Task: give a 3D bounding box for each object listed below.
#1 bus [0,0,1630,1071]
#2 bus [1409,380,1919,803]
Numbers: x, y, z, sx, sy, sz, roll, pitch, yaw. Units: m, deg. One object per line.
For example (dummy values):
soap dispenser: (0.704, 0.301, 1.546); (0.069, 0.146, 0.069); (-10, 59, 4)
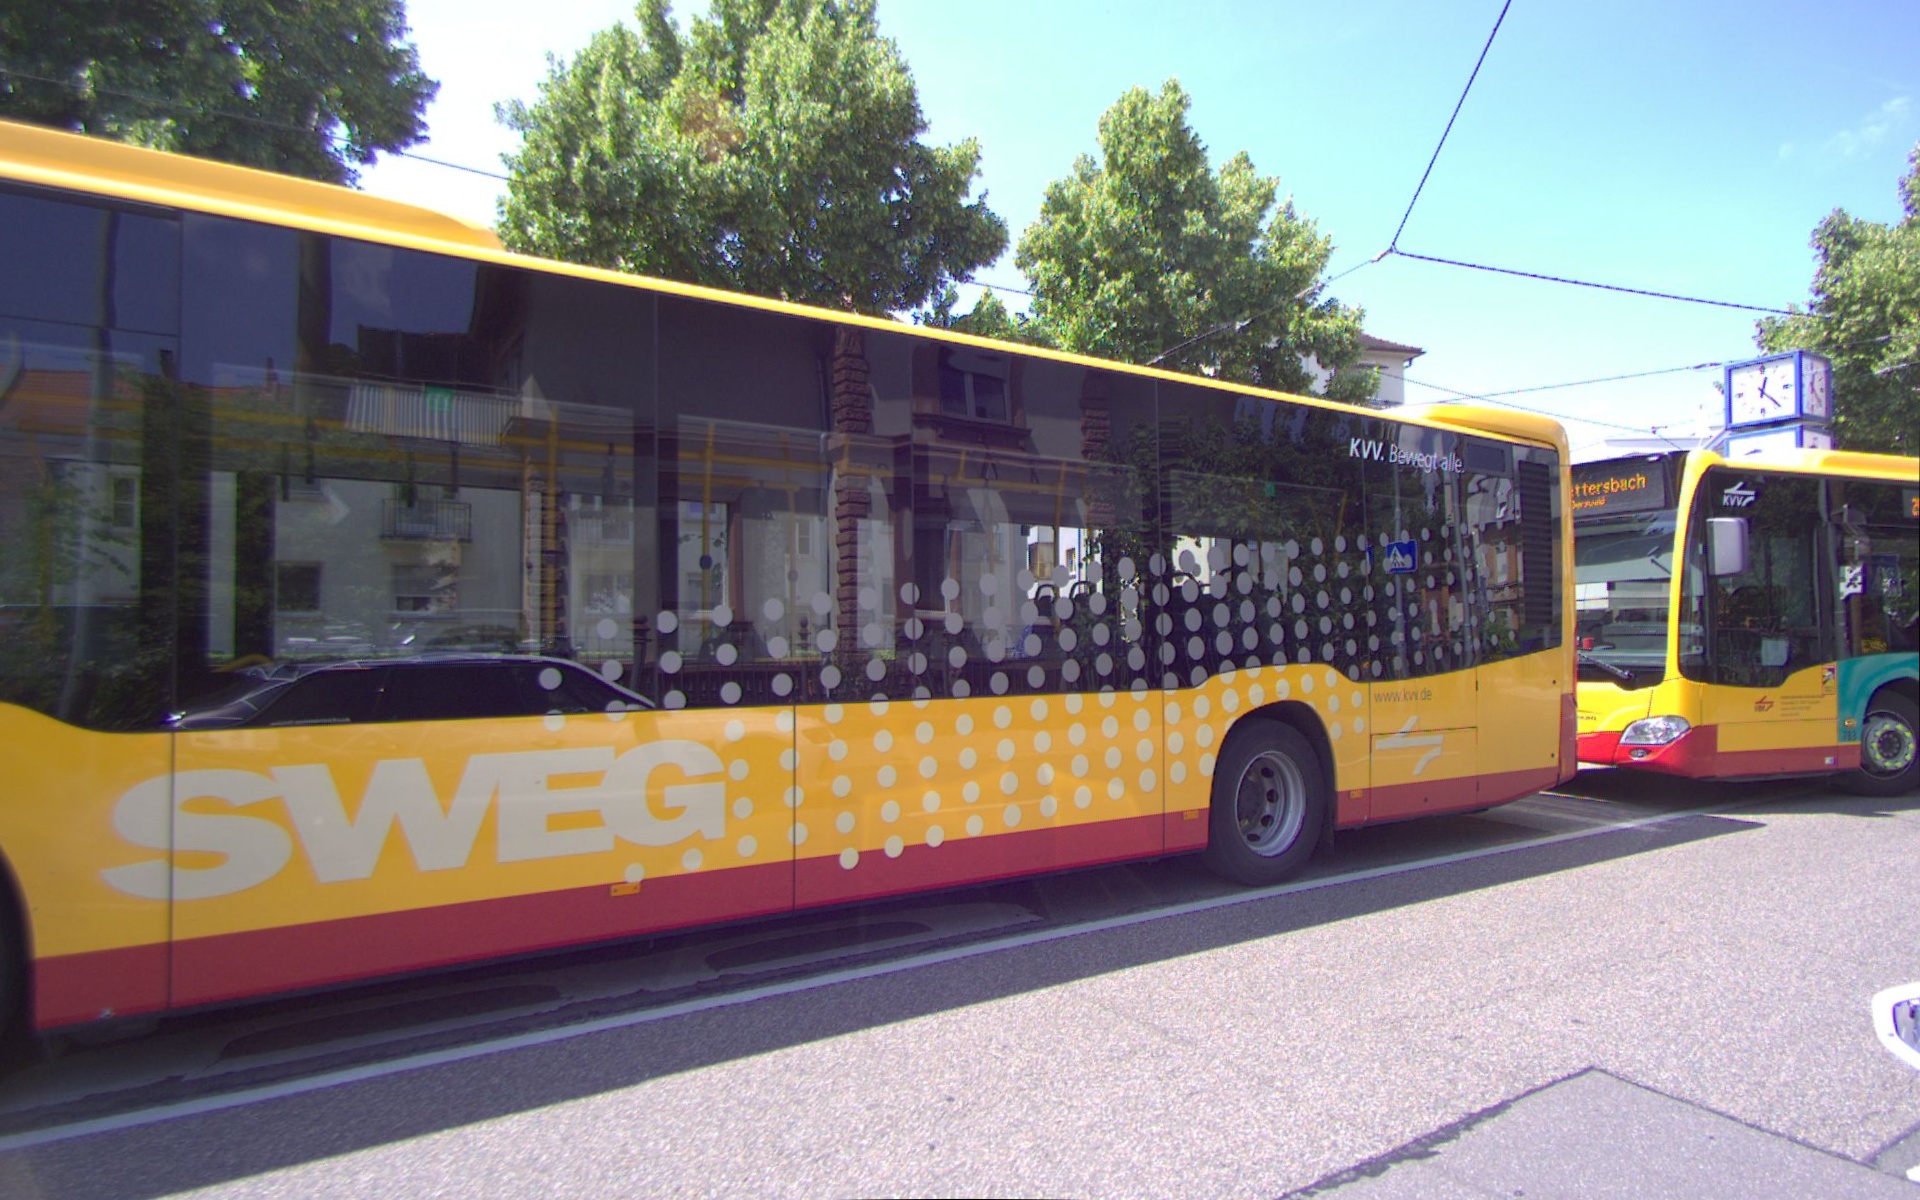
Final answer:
bus: (-0.959, -0.282, 5.459); (11.981, 3.291, 2.892); (2, -1, -31)
bus: (10.780, -0.037, 11.042); (12.115, 3.251, 2.777); (0, 0, -19)
